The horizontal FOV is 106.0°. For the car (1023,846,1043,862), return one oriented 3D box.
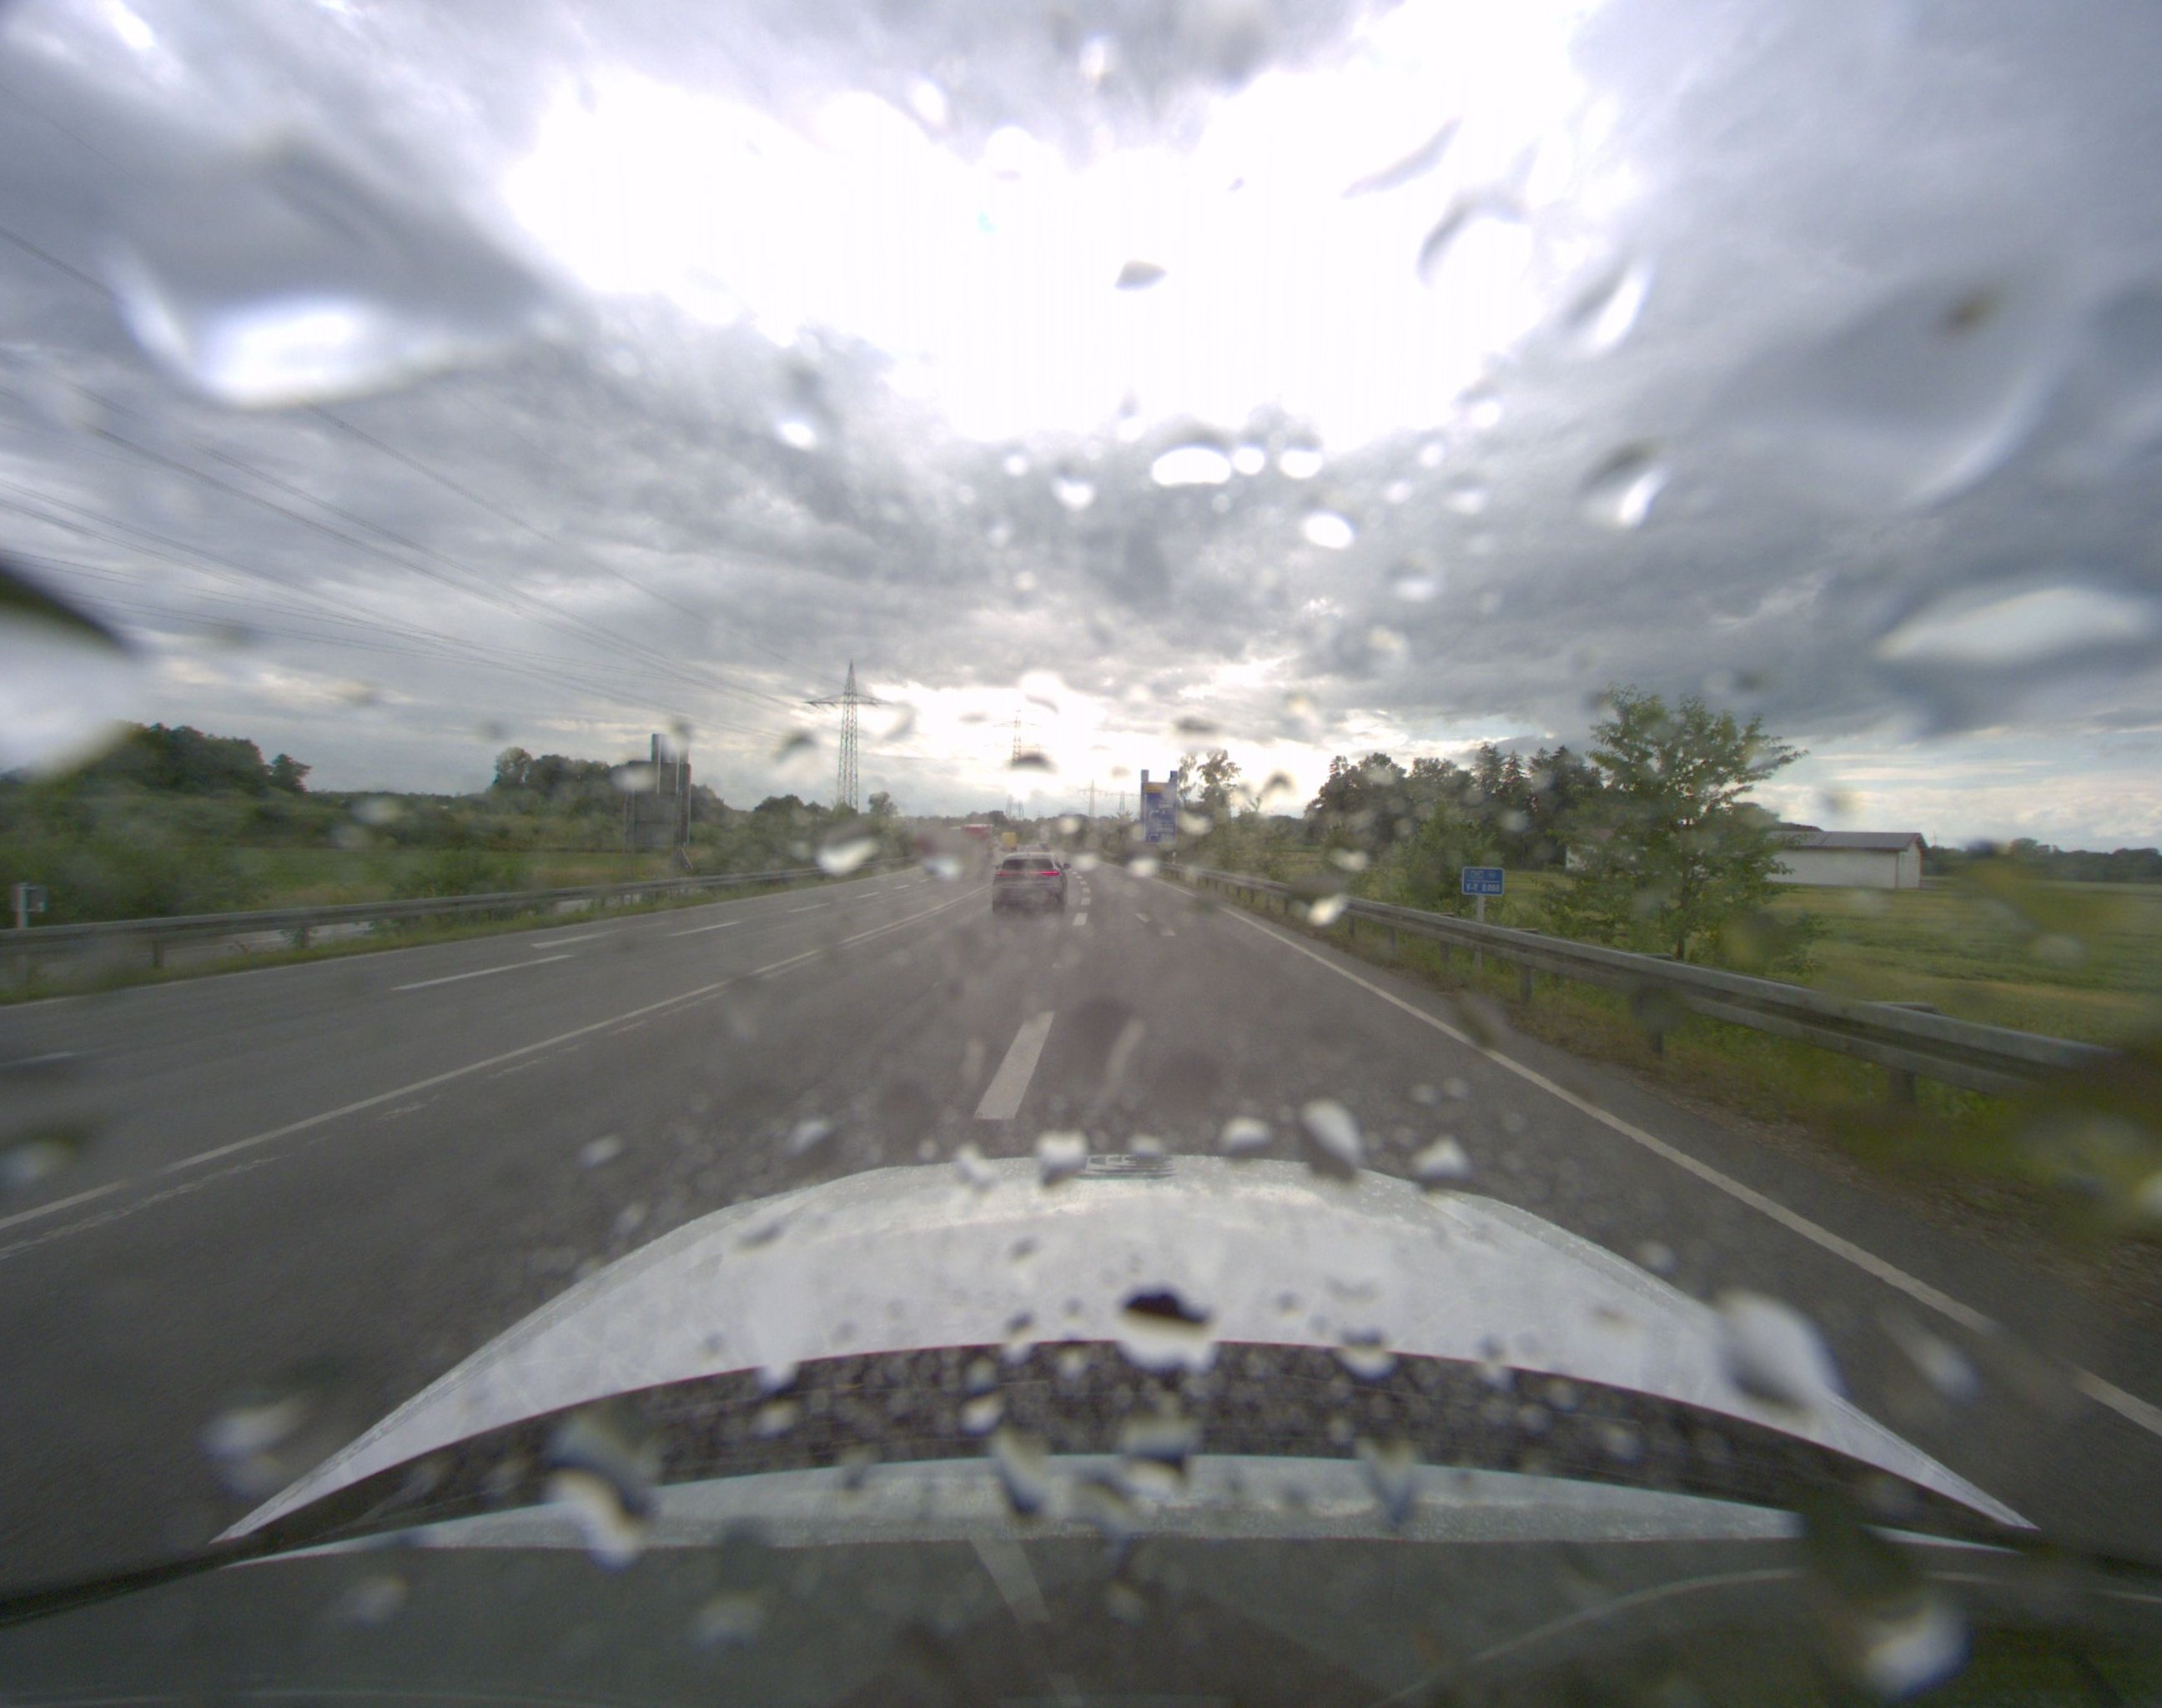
[{"bbox_3d":[-4.364,-0.042,74.492,1.788,1.441,3.995,0,1,-3],"label":"car"}]

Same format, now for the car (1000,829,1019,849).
[{"bbox_3d":[-10.409,-2.131,117.811,2.570,2.725,7.181,0,1,-6],"label":"car"}]

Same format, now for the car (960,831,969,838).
[{"bbox_3d":[-28.919,-4.850,201.617,1.802,1.574,4.239,-2,1,-14],"label":"car"}]

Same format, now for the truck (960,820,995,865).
[{"bbox_3d":[-8.067,-0.906,64.128,2.477,3.291,7.267,-2,1,-5],"label":"truck"}]

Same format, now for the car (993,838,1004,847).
[{"bbox_3d":[-14.432,-2.034,142.311,1.791,1.441,3.987,-2,1,-9],"label":"car"}]

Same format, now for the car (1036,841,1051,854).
[{"bbox_3d":[-4.669,-0.841,101.490,1.788,1.541,3.995,0,0,-4],"label":"car"}]

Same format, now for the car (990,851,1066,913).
[{"bbox_3d":[-1.299,0.668,21.231,1.786,1.441,3.998,0,0,-2],"label":"car"}]
